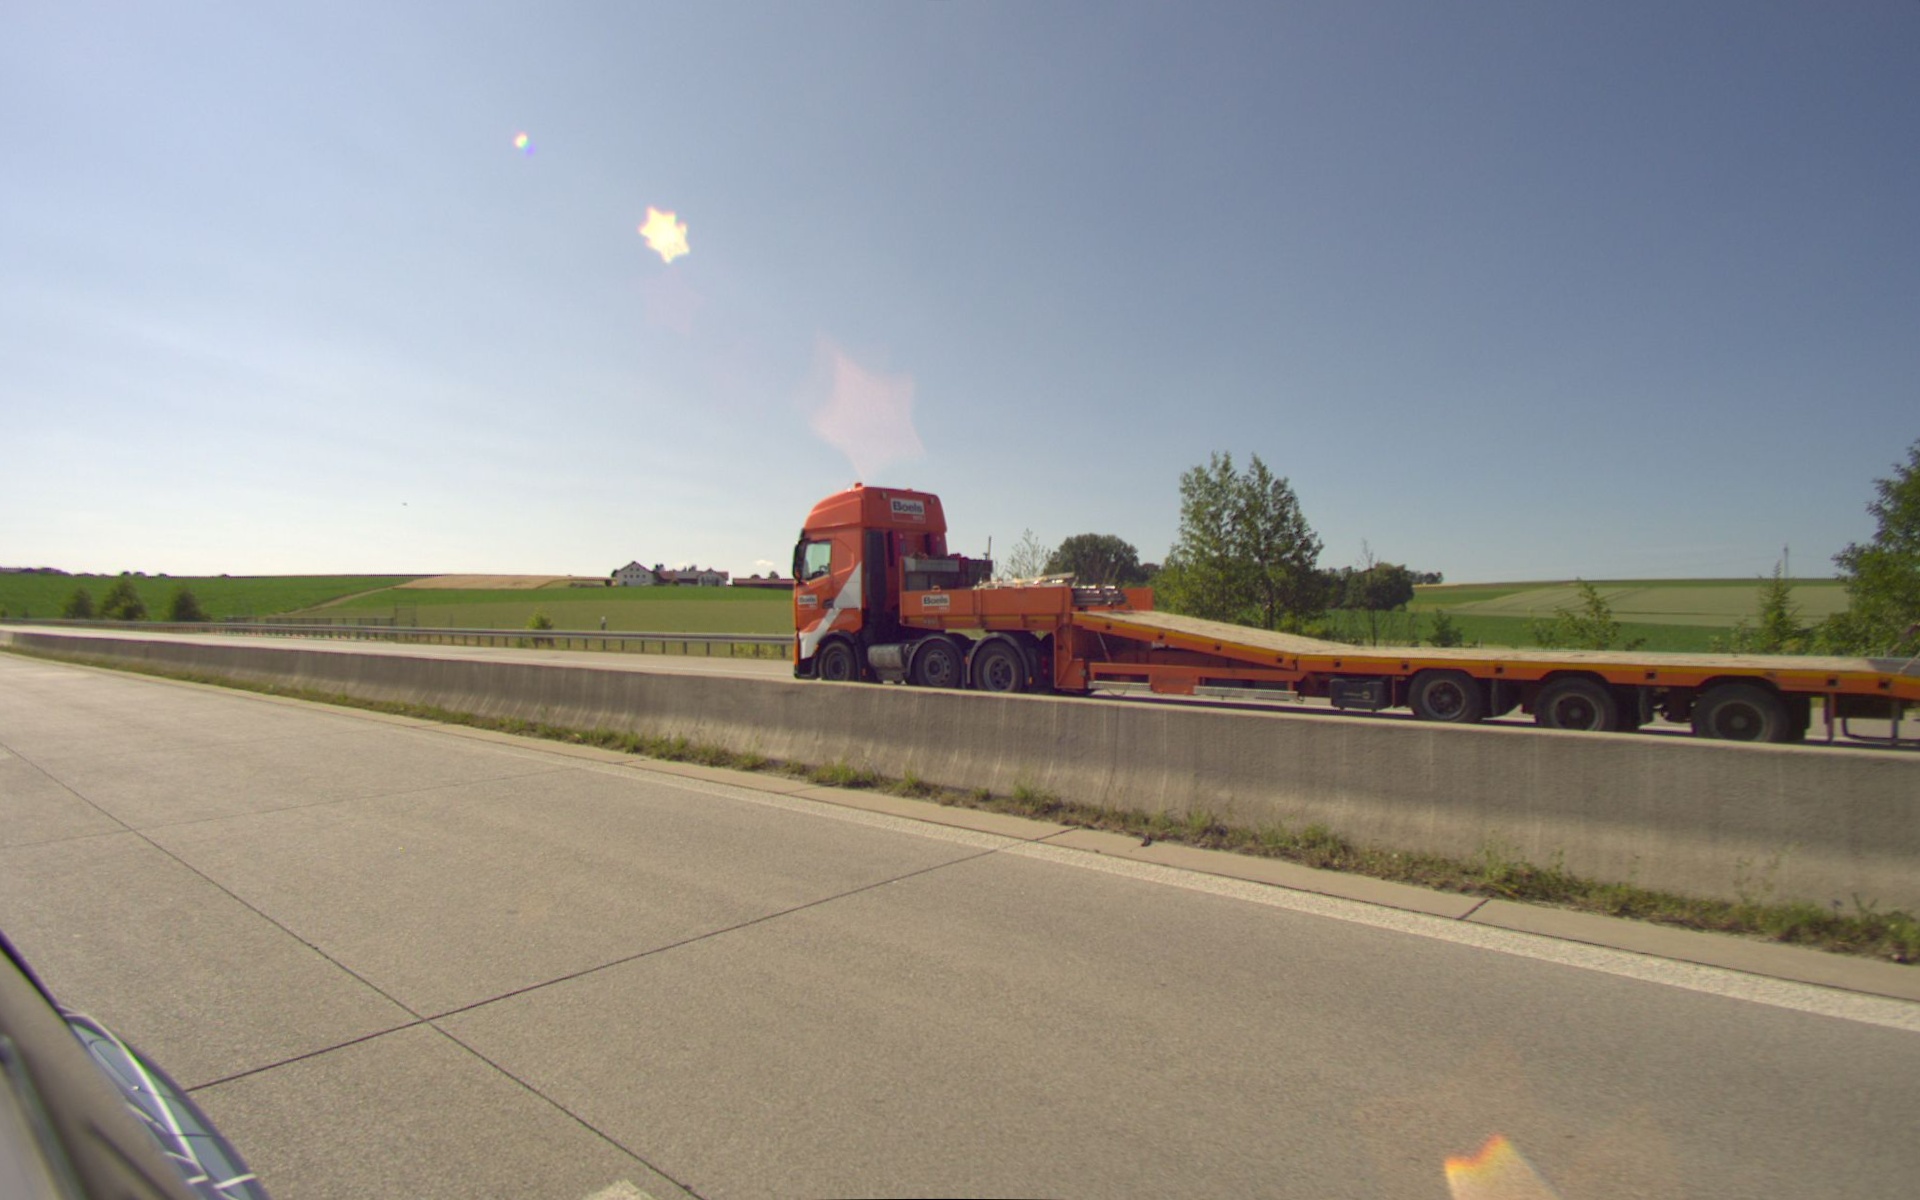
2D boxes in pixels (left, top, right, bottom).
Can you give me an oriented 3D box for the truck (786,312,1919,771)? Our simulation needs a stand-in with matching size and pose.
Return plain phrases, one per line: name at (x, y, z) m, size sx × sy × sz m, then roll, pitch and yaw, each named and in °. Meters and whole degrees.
truck at (4.064, -0.419, 14.627) m, size 17.106 × 4.046 × 2.838 m, roll -1°, pitch -1°, yaw 41°
